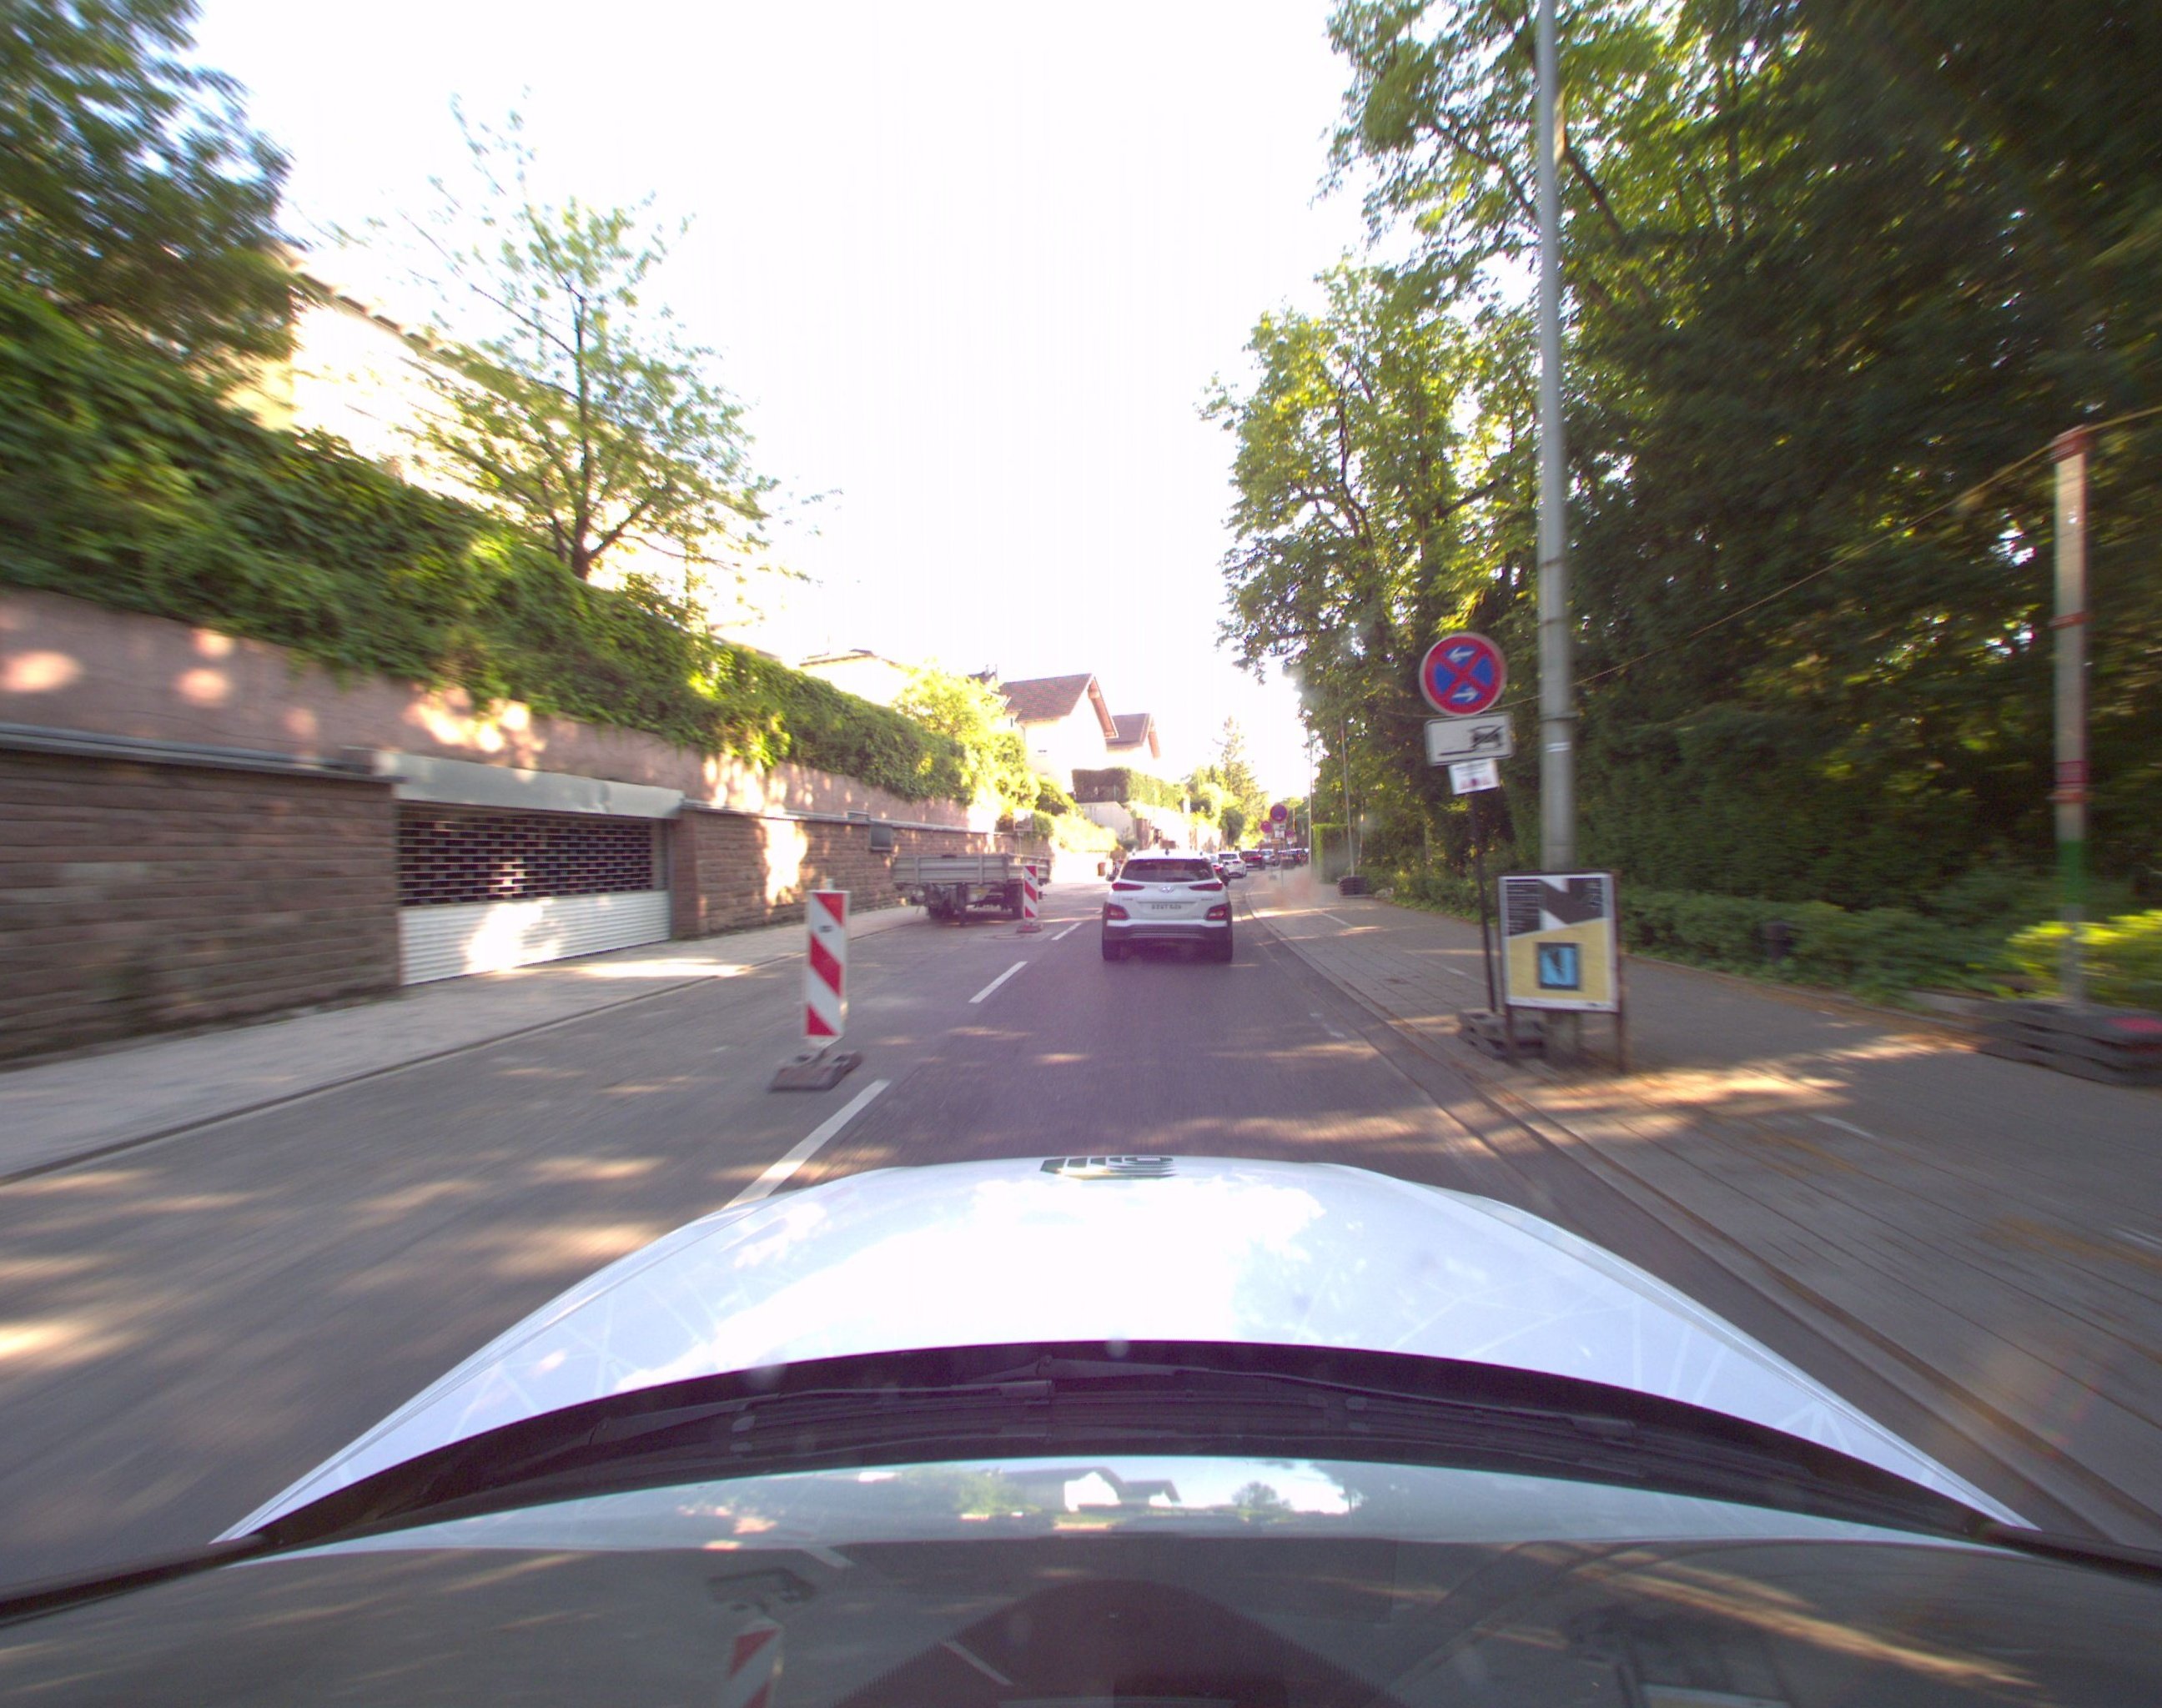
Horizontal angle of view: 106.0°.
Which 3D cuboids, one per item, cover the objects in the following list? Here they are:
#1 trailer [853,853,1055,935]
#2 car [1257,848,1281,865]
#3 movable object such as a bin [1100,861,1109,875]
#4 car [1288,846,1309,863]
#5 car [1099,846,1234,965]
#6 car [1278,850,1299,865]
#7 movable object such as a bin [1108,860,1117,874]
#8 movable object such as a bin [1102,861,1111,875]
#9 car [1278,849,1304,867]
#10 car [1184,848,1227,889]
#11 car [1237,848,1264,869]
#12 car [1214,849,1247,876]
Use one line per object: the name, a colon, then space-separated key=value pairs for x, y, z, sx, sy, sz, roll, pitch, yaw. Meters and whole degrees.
trailer: x=-2.485 y=0.739 z=18.590 sx=2.625 sy=1.489 sz=7.133 roll=-1 pitch=0 yaw=7
car: x=17.721 y=0.219 z=76.565 sx=1.679 sy=1.447 sz=3.901 roll=-1 pitch=0 yaw=20
movable object such as a bin: x=1.435 y=0.865 z=50.390 sx=0.450 sy=0.834 sz=0.394 roll=-2 pitch=0 yaw=17
car: x=20.955 y=0.072 z=78.511 sx=1.639 sy=1.564 sz=2.887 roll=-1 pitch=0 yaw=21
car: x=1.349 y=0.671 z=12.685 sx=1.763 sy=1.542 sz=4.007 roll=0 pitch=0 yaw=7
car: x=22.854 y=0.376 z=89.794 sx=1.679 sy=1.504 sz=3.650 roll=-5 pitch=0 yaw=22
movable object such as a bin: x=2.019 y=0.858 z=52.341 sx=0.452 sy=0.884 sz=0.503 roll=-1 pitch=0 yaw=17
movable object such as a bin: x=1.581 y=0.871 z=50.840 sx=0.452 sy=0.884 sz=0.503 roll=-1 pitch=0 yaw=17
car: x=17.732 y=0.326 z=68.797 sx=1.780 sy=1.441 sz=4.019 roll=-2 pitch=0 yaw=18
car: x=5.222 y=0.568 z=33.800 sx=1.502 sy=1.533 sz=3.559 roll=-2 pitch=0 yaw=12
car: x=12.908 y=0.321 z=61.936 sx=1.681 sy=1.533 sz=3.898 roll=-1 pitch=0 yaw=16
car: x=8.651 y=0.483 z=46.971 sx=1.559 sy=1.477 sz=3.562 roll=-1 pitch=0 yaw=15
